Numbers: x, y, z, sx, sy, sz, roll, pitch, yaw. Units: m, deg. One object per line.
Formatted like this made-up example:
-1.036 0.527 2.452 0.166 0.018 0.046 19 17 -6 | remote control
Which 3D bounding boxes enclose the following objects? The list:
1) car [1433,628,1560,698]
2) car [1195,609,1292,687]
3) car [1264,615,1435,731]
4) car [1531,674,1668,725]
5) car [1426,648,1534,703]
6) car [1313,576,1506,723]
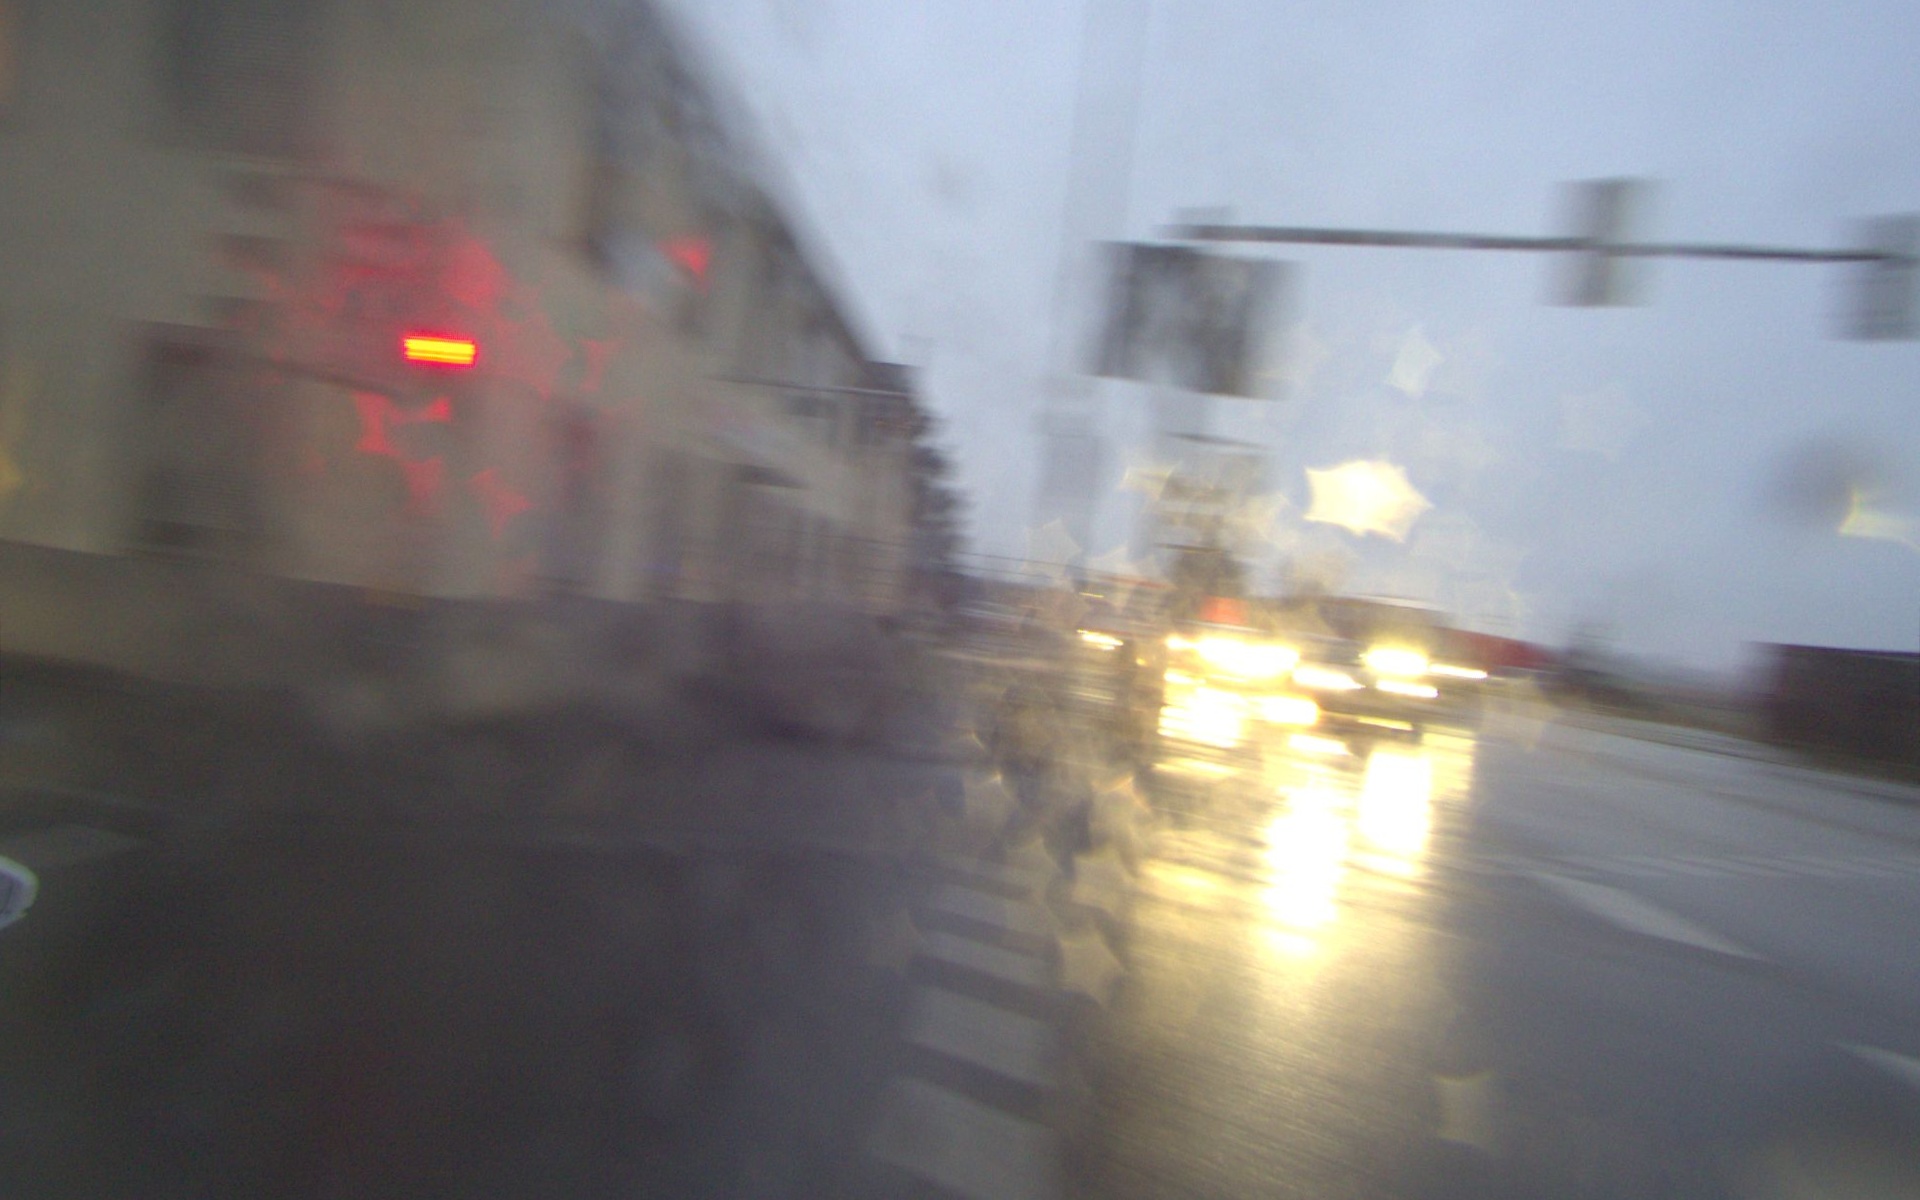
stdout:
26.491 3.112 49.796 5.172 2.907 1.775 5 1 -3 | car
7.756 1.247 27.841 1.798 1.792 3.753 6 1 6 | car
7.236 1.270 19.155 1.962 1.769 4.000 5 0 7 | car
26.966 4.192 42.549 4.454 1.550 1.777 5 1 9 | car
24.035 3.469 46.684 3.923 2.040 2.000 5 1 14 | car
11.073 1.154 25.488 2.363 2.928 6.252 9 0 7 | car
